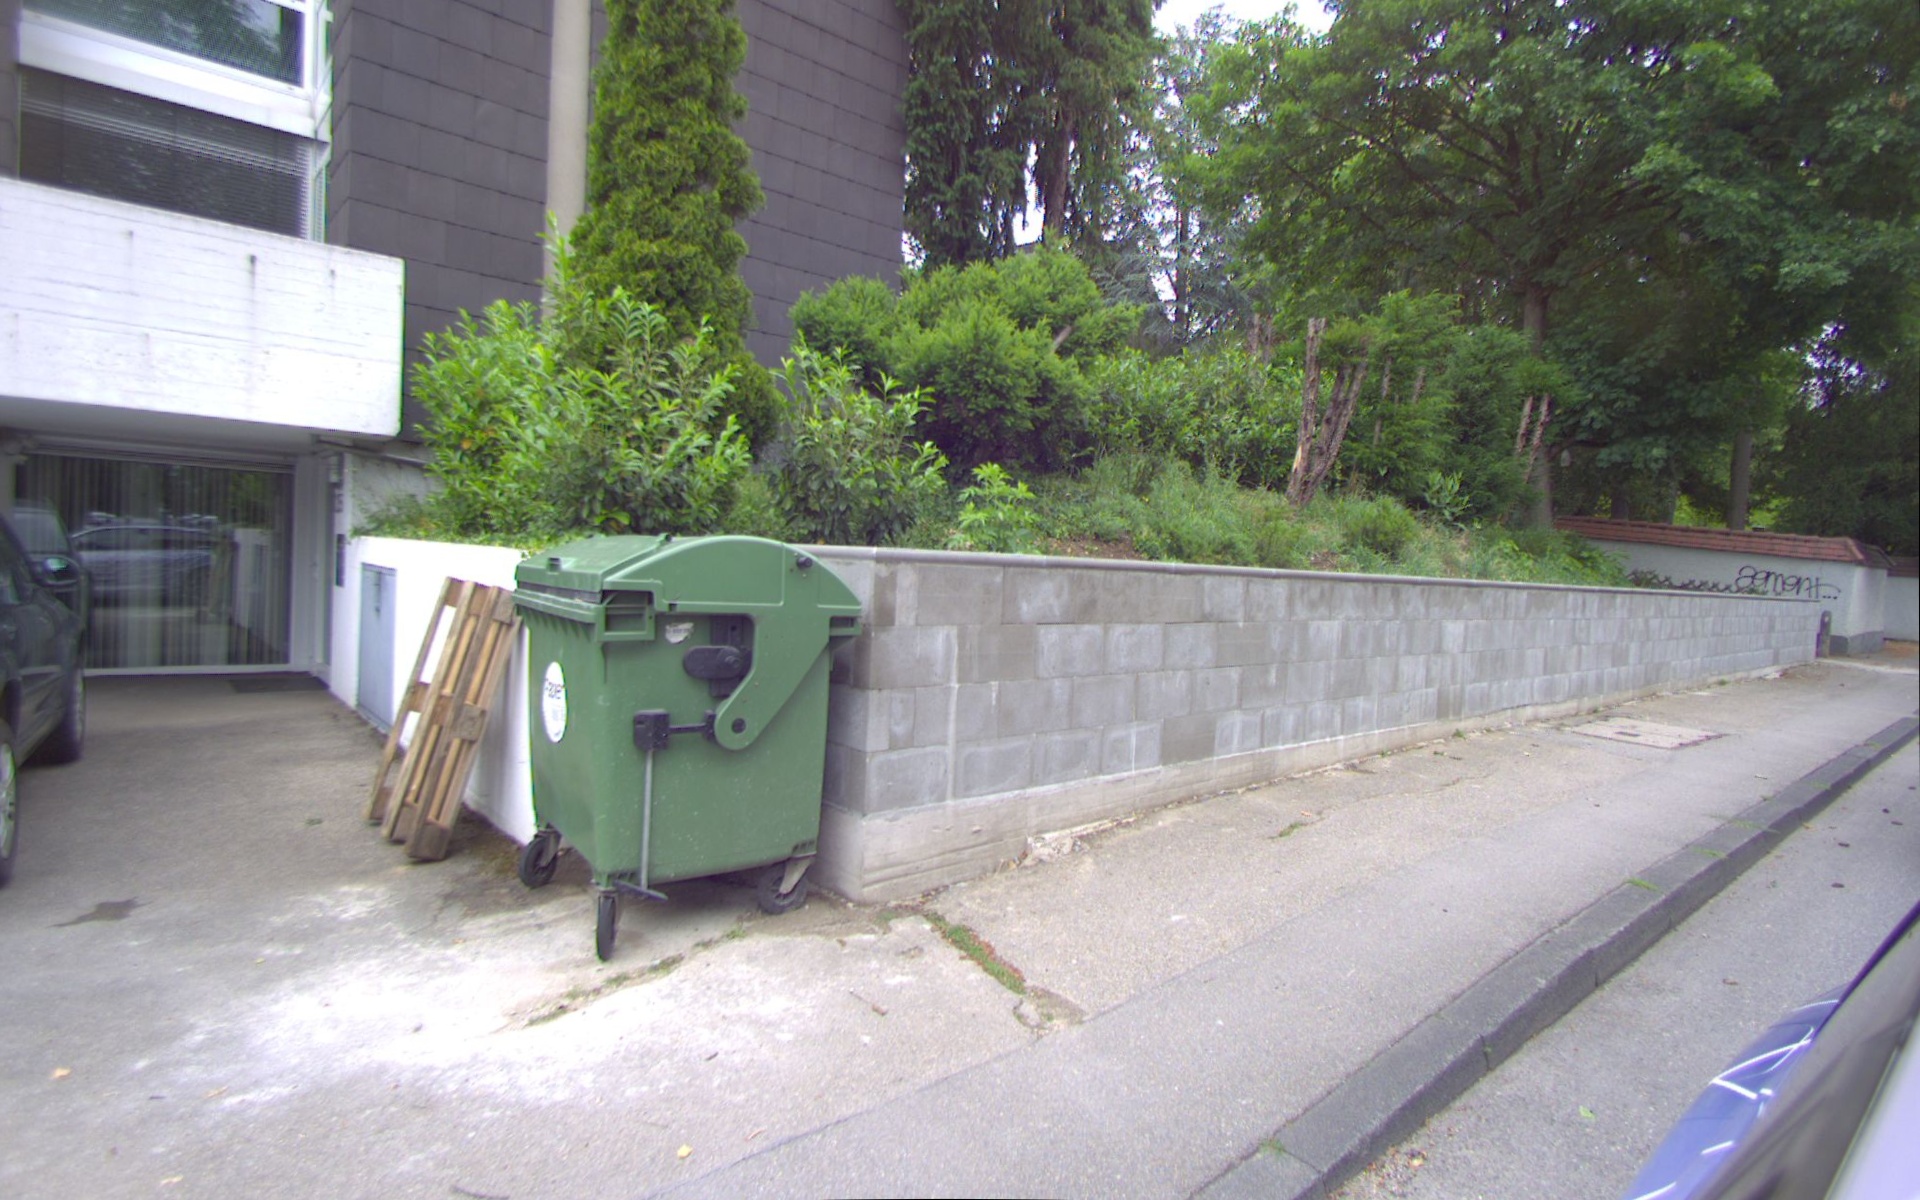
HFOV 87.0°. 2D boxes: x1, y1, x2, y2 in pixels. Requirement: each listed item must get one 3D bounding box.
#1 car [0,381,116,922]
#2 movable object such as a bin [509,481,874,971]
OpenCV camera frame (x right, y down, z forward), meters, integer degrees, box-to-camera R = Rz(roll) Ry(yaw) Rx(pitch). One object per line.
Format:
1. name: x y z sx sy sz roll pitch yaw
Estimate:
1. car: -4.998 0.075 4.392 1.798 1.771 3.987 0 3 -36
2. movable object such as a bin: -1.057 0.374 3.911 1.014 1.549 1.037 0 2 -39
